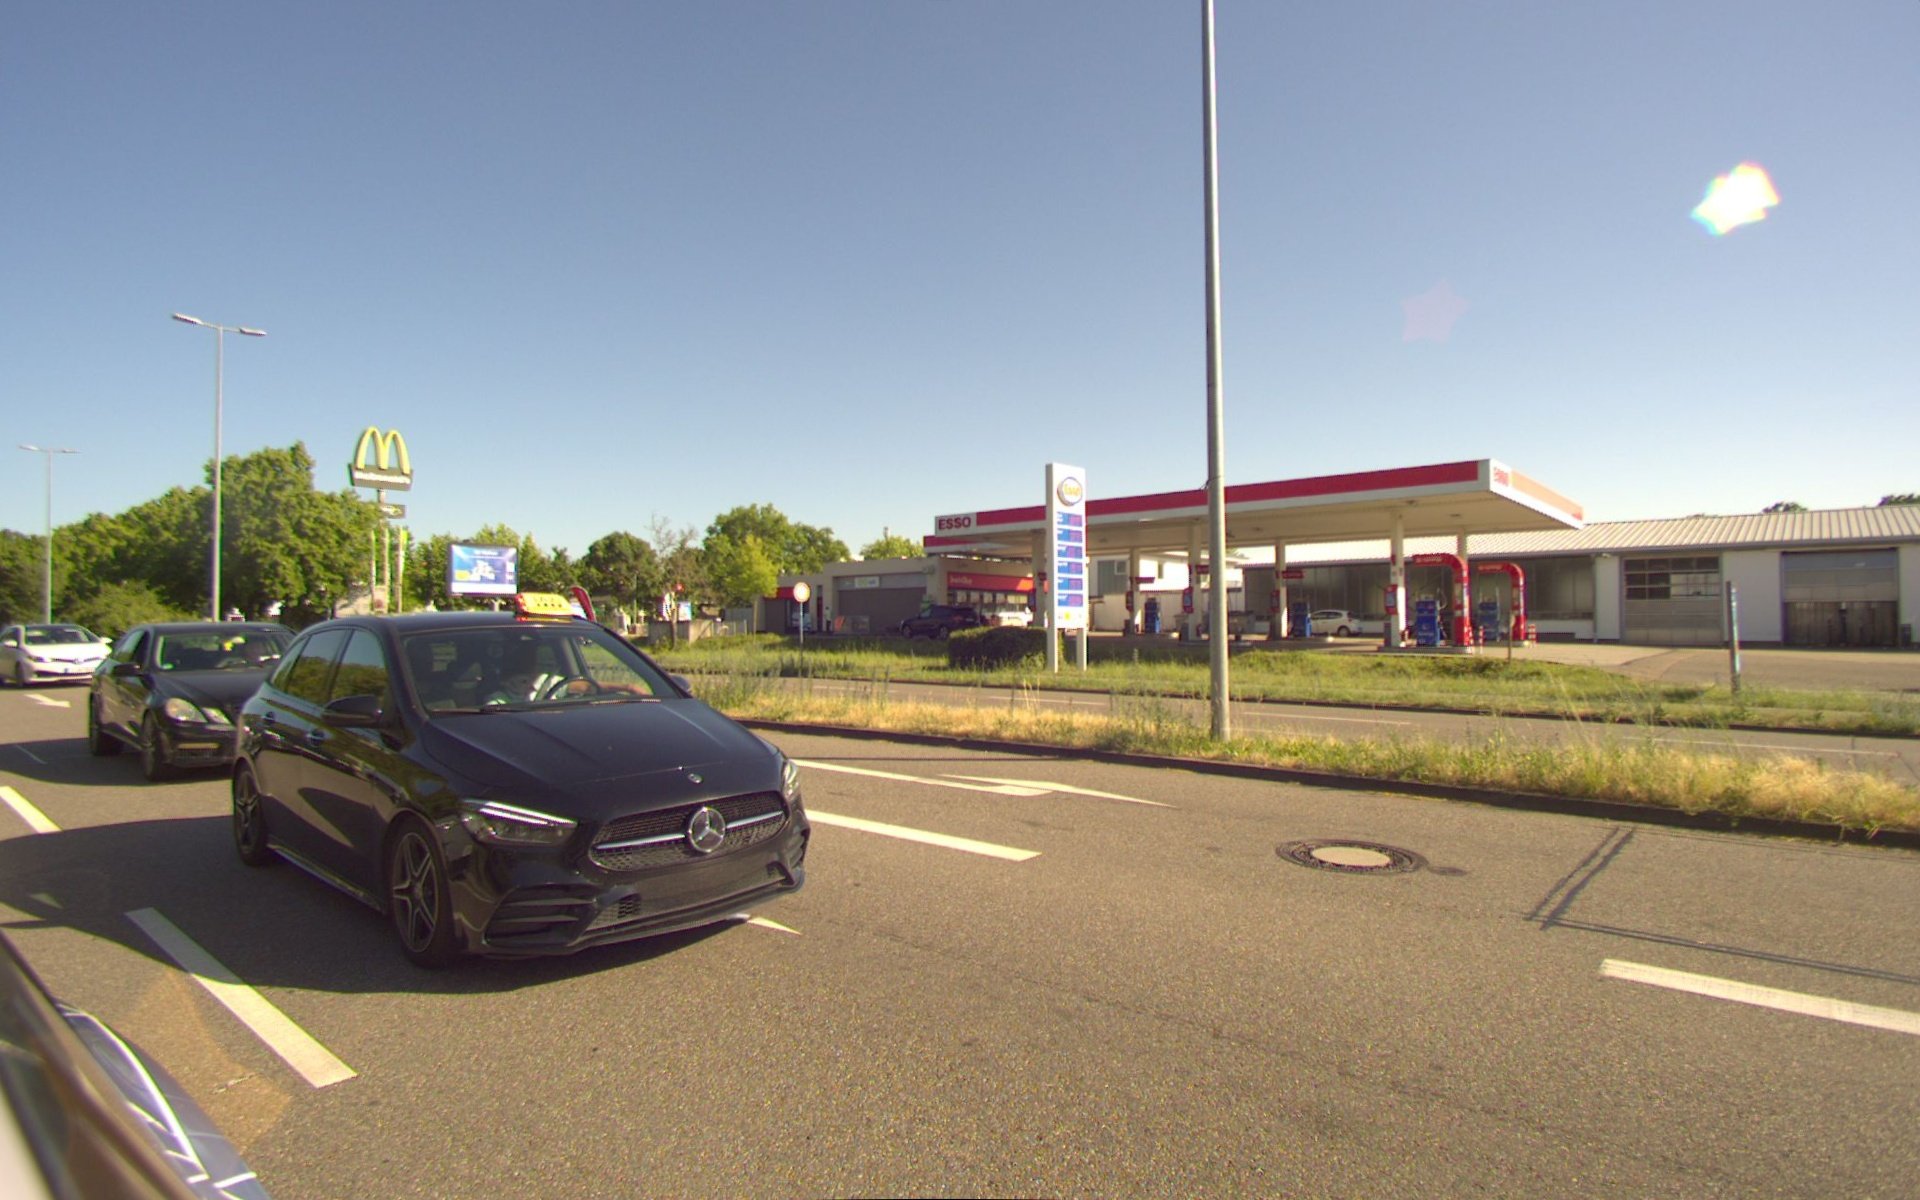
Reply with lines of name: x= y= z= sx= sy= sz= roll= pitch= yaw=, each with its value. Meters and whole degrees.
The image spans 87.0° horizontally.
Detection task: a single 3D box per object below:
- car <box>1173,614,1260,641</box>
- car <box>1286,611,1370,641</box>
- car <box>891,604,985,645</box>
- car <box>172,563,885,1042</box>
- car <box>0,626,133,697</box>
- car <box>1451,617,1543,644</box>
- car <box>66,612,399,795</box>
car: x=15.123 y=1.616 z=59.794 sx=4.540 sy=1.477 sz=1.973 roll=-1 pitch=0 yaw=41
car: x=19.964 y=1.392 z=54.941 sx=3.855 sy=1.500 sz=1.973 roll=-1 pitch=0 yaw=41
car: x=-1.084 y=1.145 z=47.526 sx=4.322 sy=1.739 sz=1.783 roll=-1 pitch=2 yaw=43
car: x=-2.671 y=0.733 z=5.590 sx=4.579 sy=1.614 sz=1.765 roll=-2 pitch=-1 yaw=40
car: x=-21.274 y=1.368 z=23.776 sx=3.993 sy=1.453 sz=1.975 roll=-1 pitch=0 yaw=37
car: x=26.206 y=1.476 z=49.440 sx=3.729 sy=1.196 sz=1.658 roll=-1 pitch=0 yaw=41
car: x=-7.896 y=0.908 z=10.813 sx=4.461 sy=1.521 sz=1.928 roll=-1 pitch=0 yaw=41
